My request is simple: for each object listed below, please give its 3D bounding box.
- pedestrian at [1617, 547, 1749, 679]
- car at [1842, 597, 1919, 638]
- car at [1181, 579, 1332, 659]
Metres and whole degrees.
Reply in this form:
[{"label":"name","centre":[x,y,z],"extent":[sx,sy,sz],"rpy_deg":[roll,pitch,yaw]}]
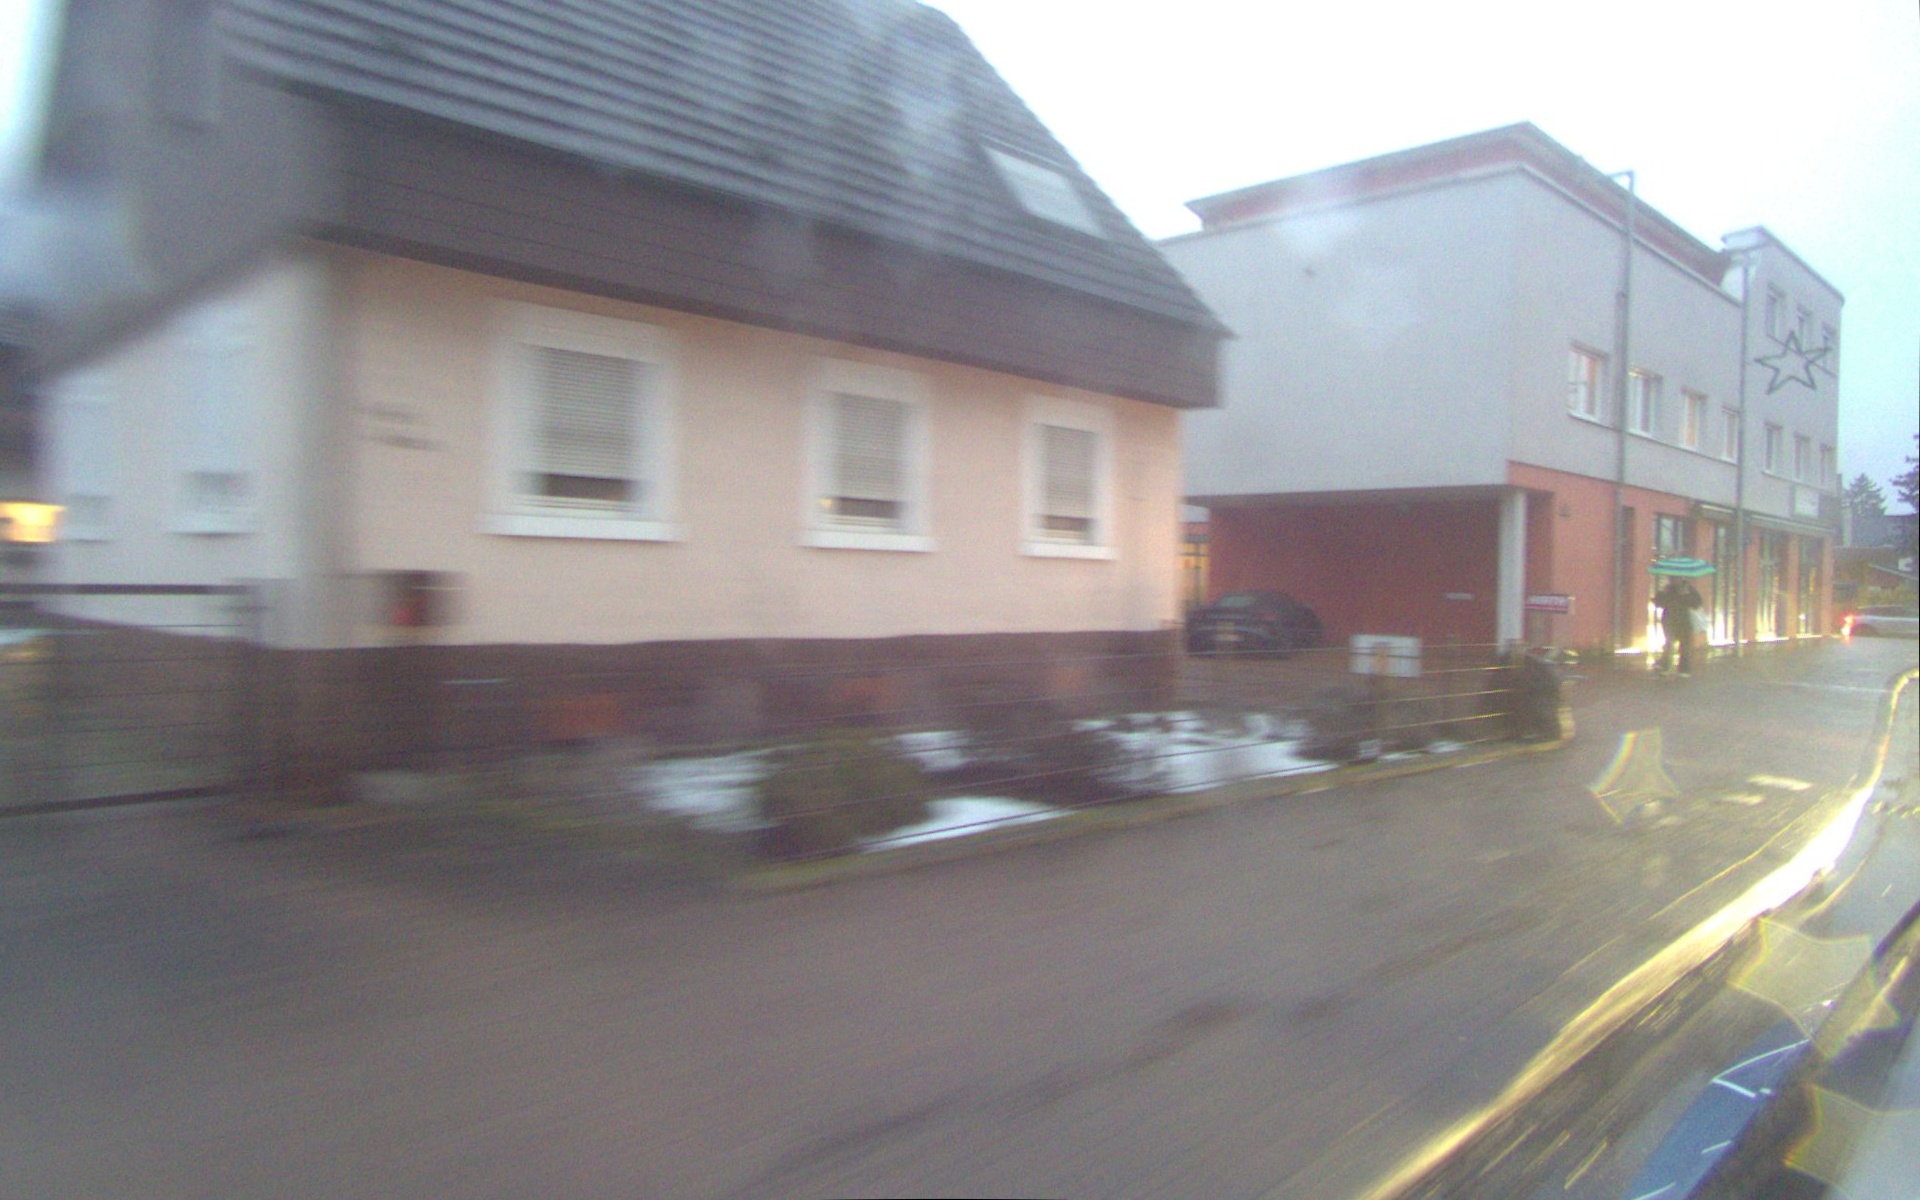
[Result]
[{"label":"pedestrian","centre":[11.078,0.167,15.518],"extent":[1.279,1.888,1.258],"rpy_deg":[0,3,-37]},{"label":"car","centre":[34.960,0.633,36.754],"extent":[1.766,1.460,4.177],"rpy_deg":[2,-2,-40]},{"label":"car","centre":[5.924,0.283,19.887],"extent":[1.865,1.274,4.126],"rpy_deg":[2,3,31]}]
